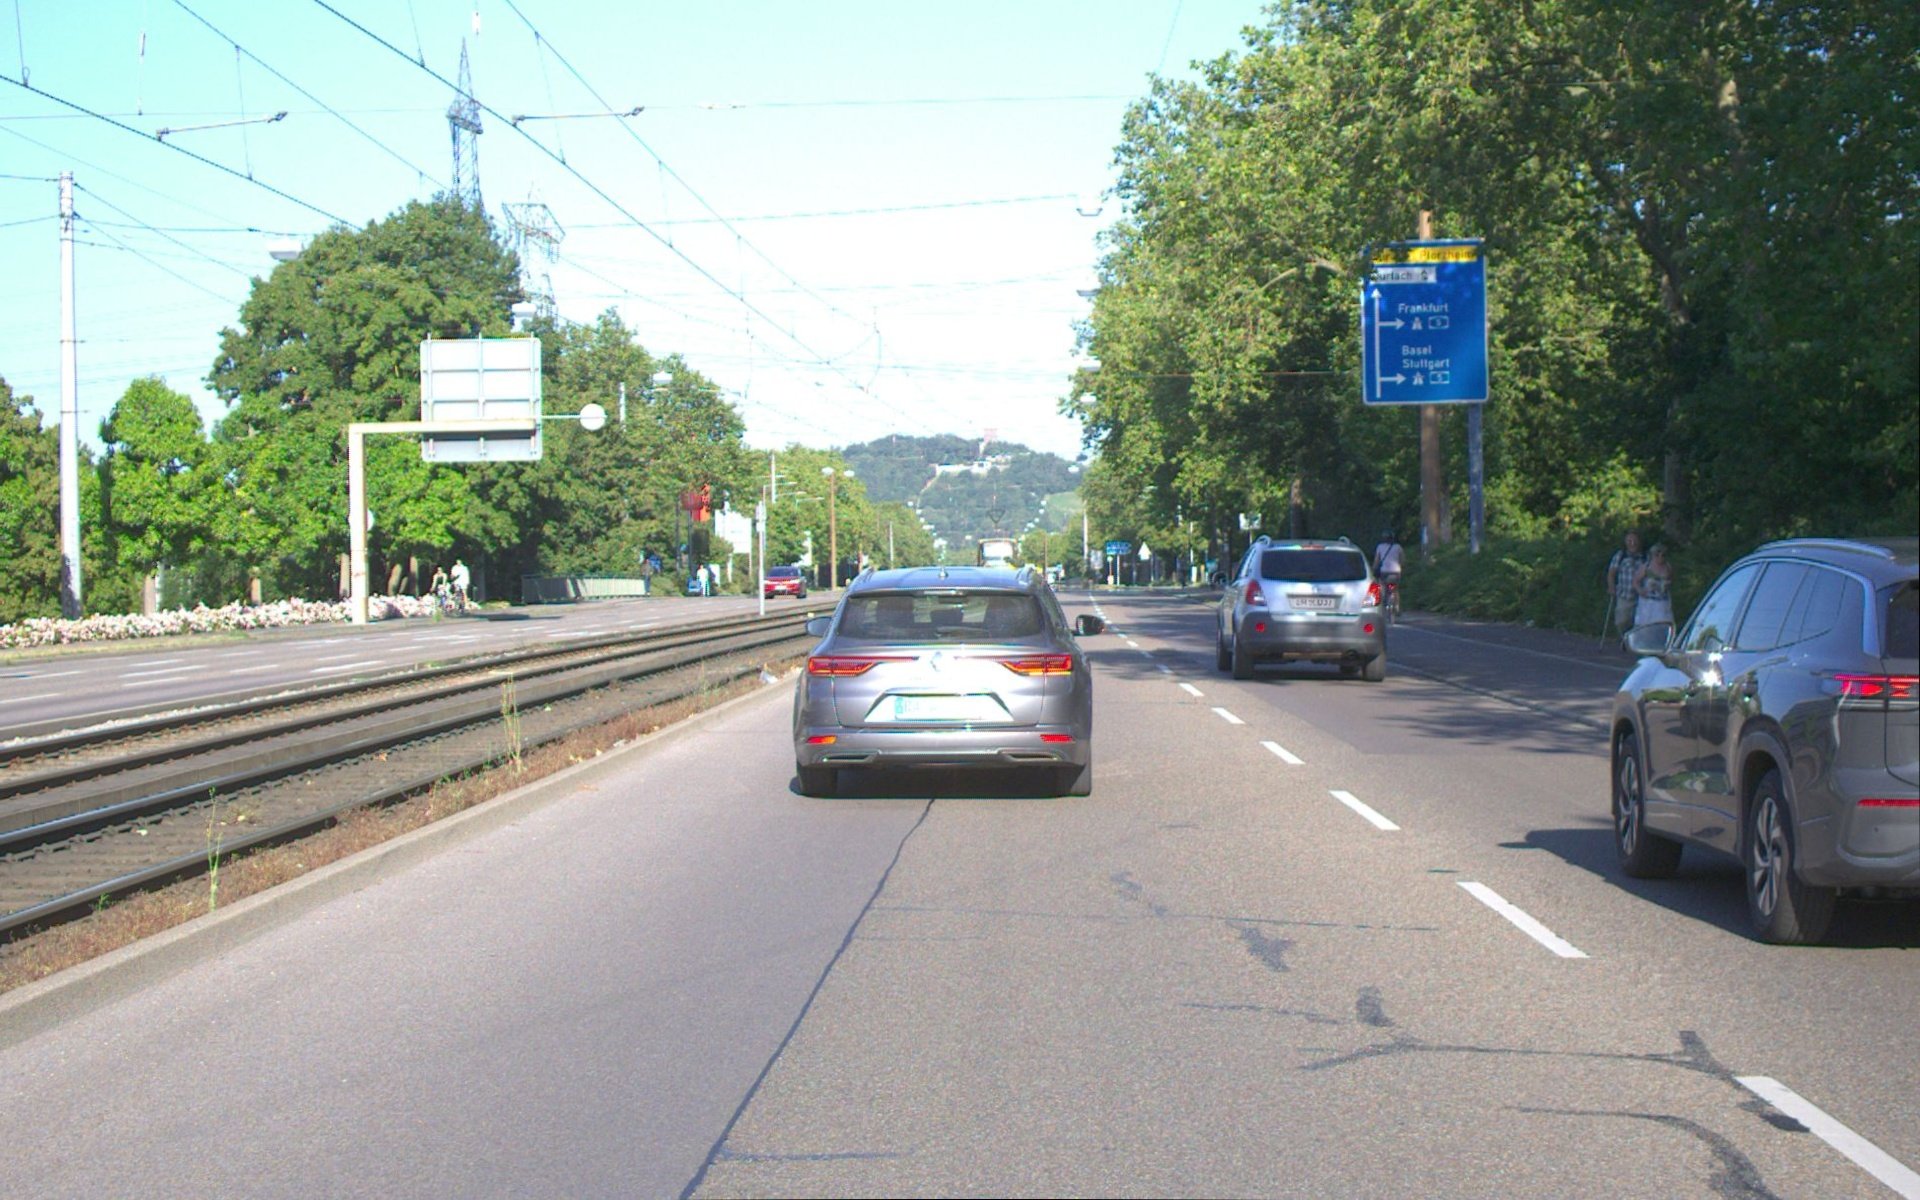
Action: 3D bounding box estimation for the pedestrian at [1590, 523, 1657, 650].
[{"bbox_3d":[9.038,-0.186,46.844,0.722,1.702,0.813,-2,1,1],"label":"pedestrian"}]

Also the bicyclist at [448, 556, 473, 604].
[{"bbox_3d":[-17.310,-0.705,119.116,0.602,1.653,0.963,2,1,5],"label":"bicyclist"}]

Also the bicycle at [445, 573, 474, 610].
[{"bbox_3d":[-17.329,-0.297,119.073,0.602,1.215,1.748,2,1,5],"label":"bicycle"}]

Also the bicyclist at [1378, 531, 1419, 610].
[{"bbox_3d":[8.428,-0.578,66.091,0.685,1.503,0.891,0,1,2],"label":"bicyclist"}]

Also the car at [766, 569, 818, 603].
[{"bbox_3d":[-8.017,-0.689,164.473,2.039,1.498,4.887,-1,1,2],"label":"car"}]

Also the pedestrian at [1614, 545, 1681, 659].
[{"bbox_3d":[9.055,0.018,45.302,0.723,1.475,0.722,-2,1,1],"label":"pedestrian"}]

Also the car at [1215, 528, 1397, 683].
[{"bbox_3d":[4.244,0.026,42.724,1.883,1.789,4.000,2,1,1],"label":"car"}]

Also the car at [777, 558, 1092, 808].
[{"bbox_3d":[-0.064,0.467,22.798,1.866,1.462,4.666,0,1,2],"label":"car"}]

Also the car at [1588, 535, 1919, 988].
[{"bbox_3d":[4.085,0.560,14.843,1.844,1.655,4.440,1,1,-1],"label":"car"}]

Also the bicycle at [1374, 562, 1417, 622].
[{"bbox_3d":[8.389,-0.157,66.282,0.622,1.116,1.813,-2,1,1],"label":"bicycle"}]

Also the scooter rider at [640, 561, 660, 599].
[{"bbox_3d":[-15.213,-0.997,168.752,0.682,1.842,1.000,-1,0,9],"label":"scooter rider"}]
